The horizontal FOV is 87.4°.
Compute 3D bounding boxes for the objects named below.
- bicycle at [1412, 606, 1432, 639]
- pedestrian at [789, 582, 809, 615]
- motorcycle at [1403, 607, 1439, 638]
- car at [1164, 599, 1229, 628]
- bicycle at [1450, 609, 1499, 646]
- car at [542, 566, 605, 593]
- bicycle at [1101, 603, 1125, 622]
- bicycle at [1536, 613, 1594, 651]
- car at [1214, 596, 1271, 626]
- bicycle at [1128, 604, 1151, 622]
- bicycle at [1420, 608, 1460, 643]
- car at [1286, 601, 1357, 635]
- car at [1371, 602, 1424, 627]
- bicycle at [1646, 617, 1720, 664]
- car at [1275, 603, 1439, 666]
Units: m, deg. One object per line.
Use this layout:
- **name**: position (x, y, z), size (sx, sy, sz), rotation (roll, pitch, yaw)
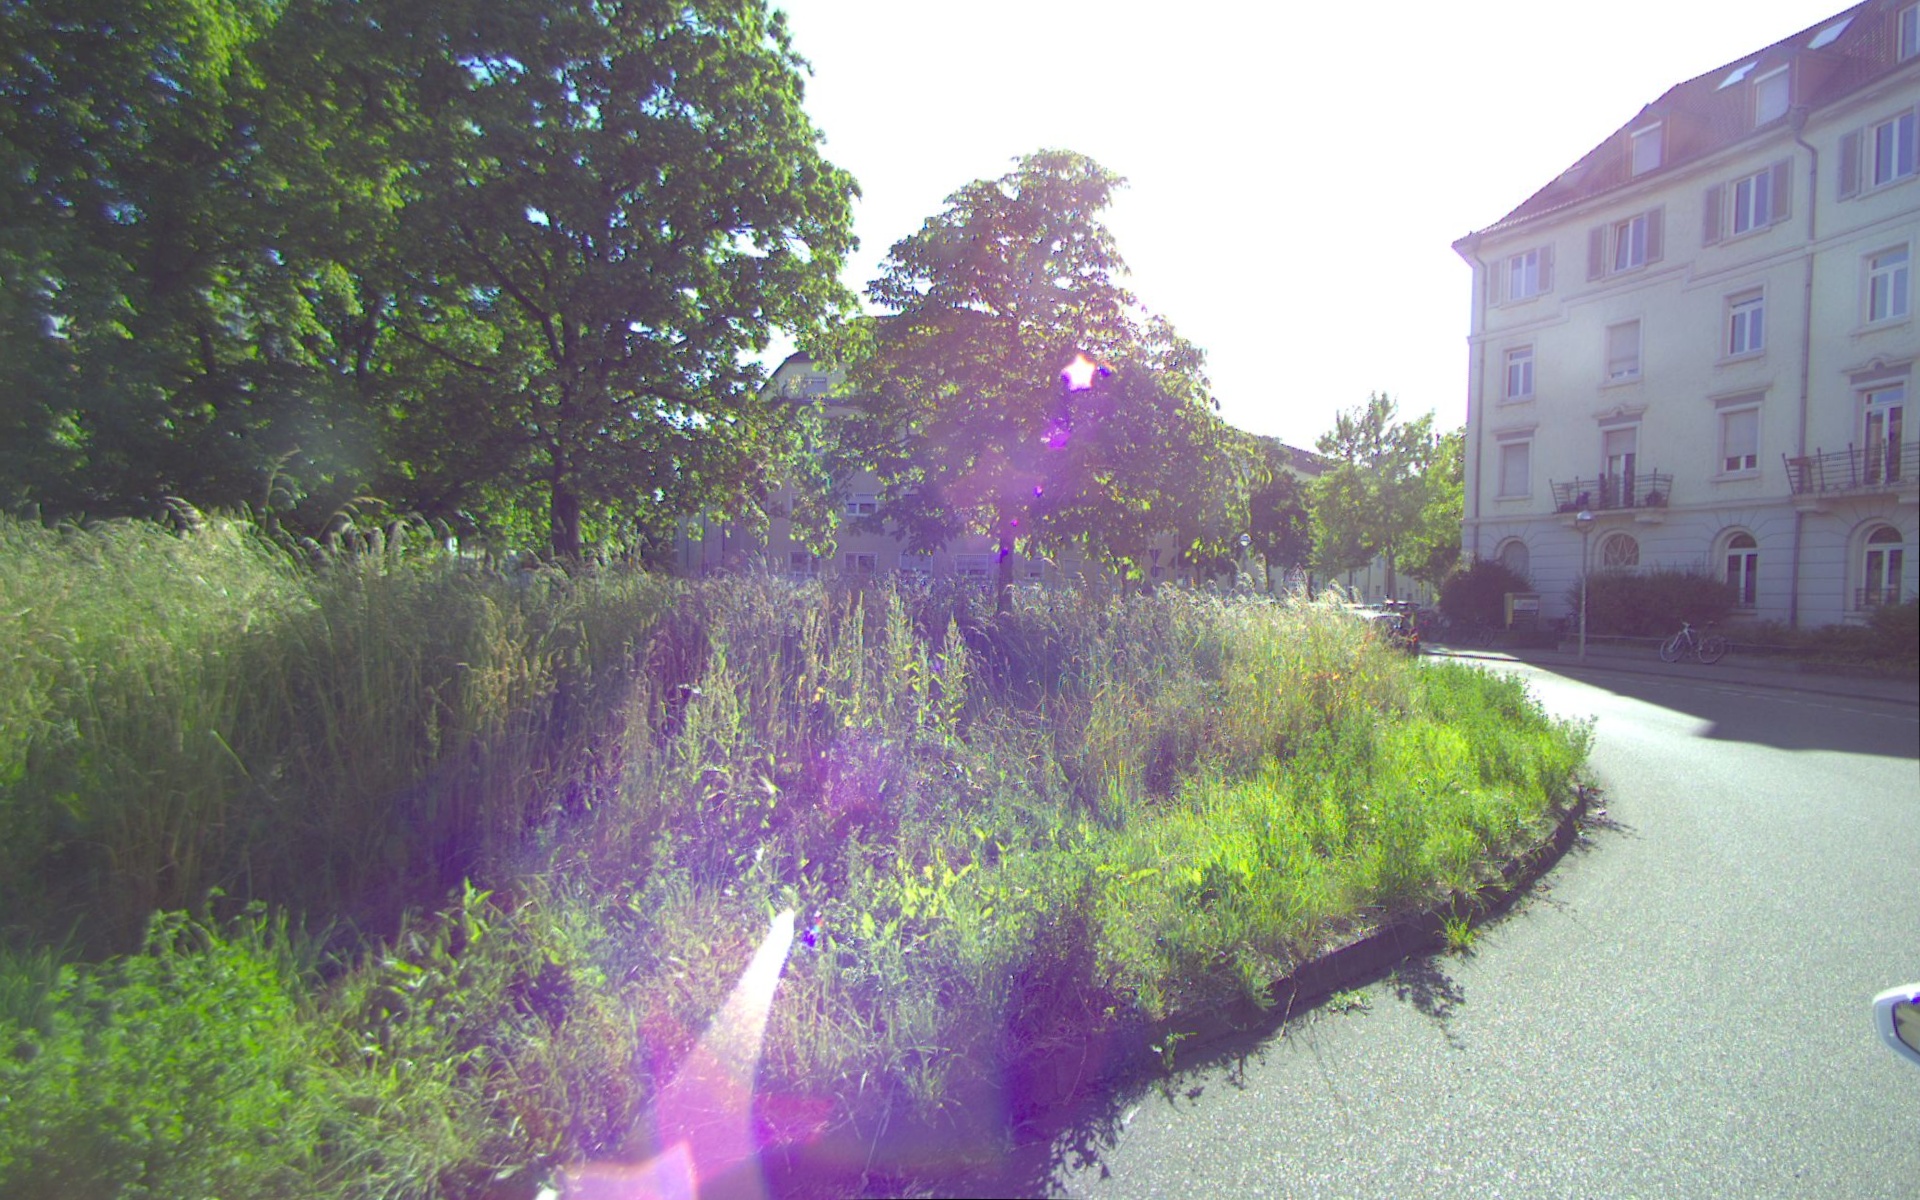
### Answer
- **bicycle**: position (16.974, 0.817, 36.949), size (0.490, 1.122, 1.950), rotation (1, 1, 20)
- **pedestrian**: position (-7.821, -0.077, 48.725), size (0.814, 1.544, 0.693), rotation (-1, 2, -23)
- **motorcycle**: position (18.162, 0.873, 39.604), size (0.876, 1.207, 1.482), rotation (-1, -1, 42)
- **car**: position (12.123, 0.694, 51.303), size (1.775, 1.430, 3.985), rotation (1, 0, 37)
- **bicycle**: position (16.780, 0.893, 32.810), size (0.491, 1.122, 1.798), rotation (0, 1, -6)
- **car**: position (-30.474, -1.600, 79.231), size (4.115, 2.014, 2.174), rotation (1, 0, 15)
- **bicycle**: position (8.758, 0.722, 57.544), size (1.437, 1.040, 0.495), rotation (1, 1, -38)
- **bicycle**: position (18.082, 0.952, 30.028), size (1.655, 1.122, 0.498), rotation (0, 1, -17)
- **car**: position (15.816, 0.622, 56.132), size (1.771, 1.597, 3.984), rotation (1, 0, 37)
- **bicycle**: position (10.640, 0.759, 59.608), size (1.437, 1.040, 0.495), rotation (1, 1, -38)
- **bicycle**: position (16.571, 0.864, 34.722), size (0.490, 1.122, 1.800), rotation (0, 1, 0)
- **car**: position (16.753, 0.830, 46.488), size (1.773, 1.432, 3.980), rotation (2, 0, 40)
- **car**: position (23.980, 0.798, 54.989), size (1.772, 1.272, 3.702), rotation (1, 0, 39)
- **bicycle**: position (18.024, 0.990, 25.077), size (0.493, 1.103, 1.684), rotation (-1, 1, -6)
- **car**: position (10.007, 0.811, 25.682), size (1.840, 1.438, 3.986), rotation (0, 1, -16)
